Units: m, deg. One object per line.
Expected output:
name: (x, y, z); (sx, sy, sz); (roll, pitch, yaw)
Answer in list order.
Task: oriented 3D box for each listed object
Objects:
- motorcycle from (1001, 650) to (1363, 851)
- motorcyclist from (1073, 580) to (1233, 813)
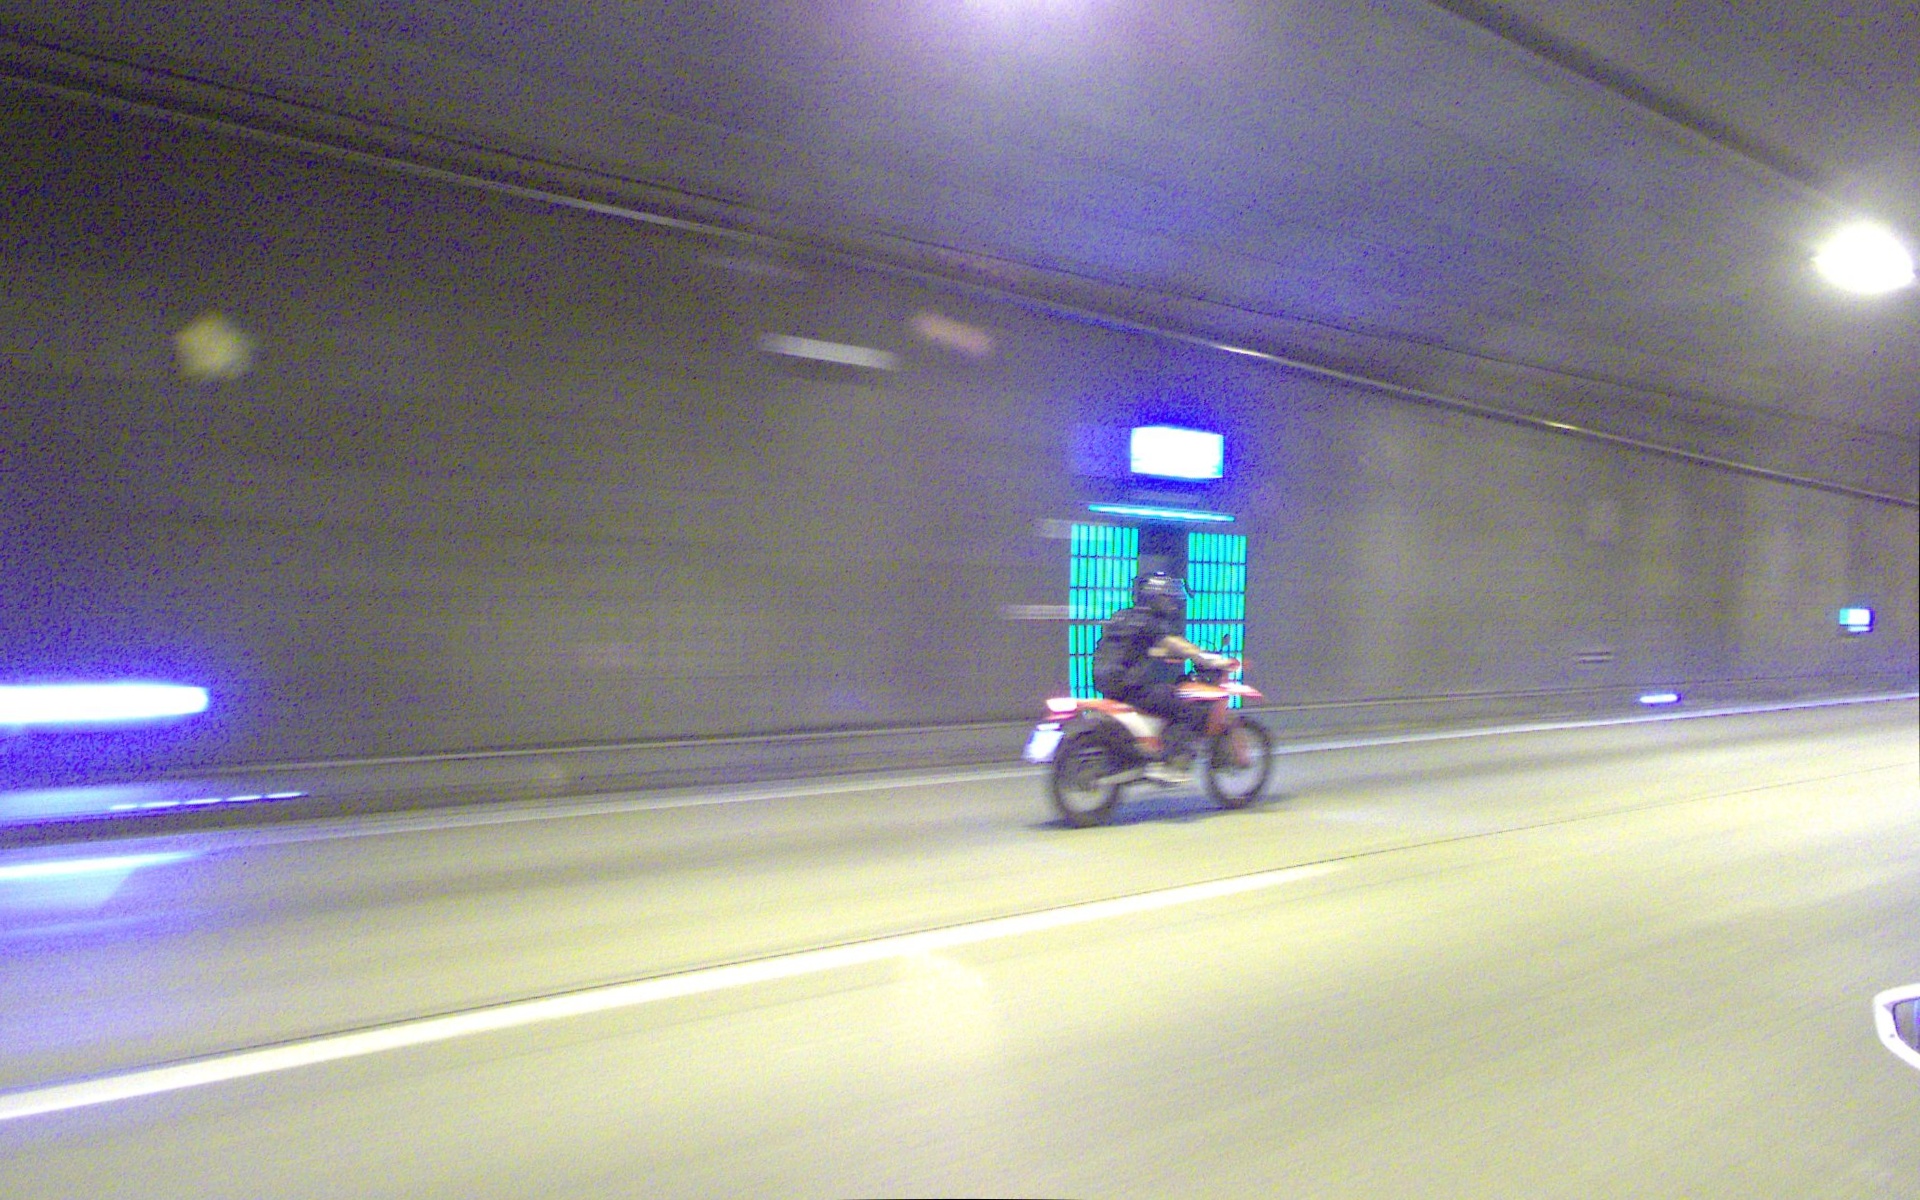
motorcycle: (1.597, 0.971, 7.167); (2.396, 1.173, 1.049); (1, 0, -27)
motorcyclist: (1.336, 0.639, 6.987); (0.879, 1.509, 0.624); (1, -1, -27)
